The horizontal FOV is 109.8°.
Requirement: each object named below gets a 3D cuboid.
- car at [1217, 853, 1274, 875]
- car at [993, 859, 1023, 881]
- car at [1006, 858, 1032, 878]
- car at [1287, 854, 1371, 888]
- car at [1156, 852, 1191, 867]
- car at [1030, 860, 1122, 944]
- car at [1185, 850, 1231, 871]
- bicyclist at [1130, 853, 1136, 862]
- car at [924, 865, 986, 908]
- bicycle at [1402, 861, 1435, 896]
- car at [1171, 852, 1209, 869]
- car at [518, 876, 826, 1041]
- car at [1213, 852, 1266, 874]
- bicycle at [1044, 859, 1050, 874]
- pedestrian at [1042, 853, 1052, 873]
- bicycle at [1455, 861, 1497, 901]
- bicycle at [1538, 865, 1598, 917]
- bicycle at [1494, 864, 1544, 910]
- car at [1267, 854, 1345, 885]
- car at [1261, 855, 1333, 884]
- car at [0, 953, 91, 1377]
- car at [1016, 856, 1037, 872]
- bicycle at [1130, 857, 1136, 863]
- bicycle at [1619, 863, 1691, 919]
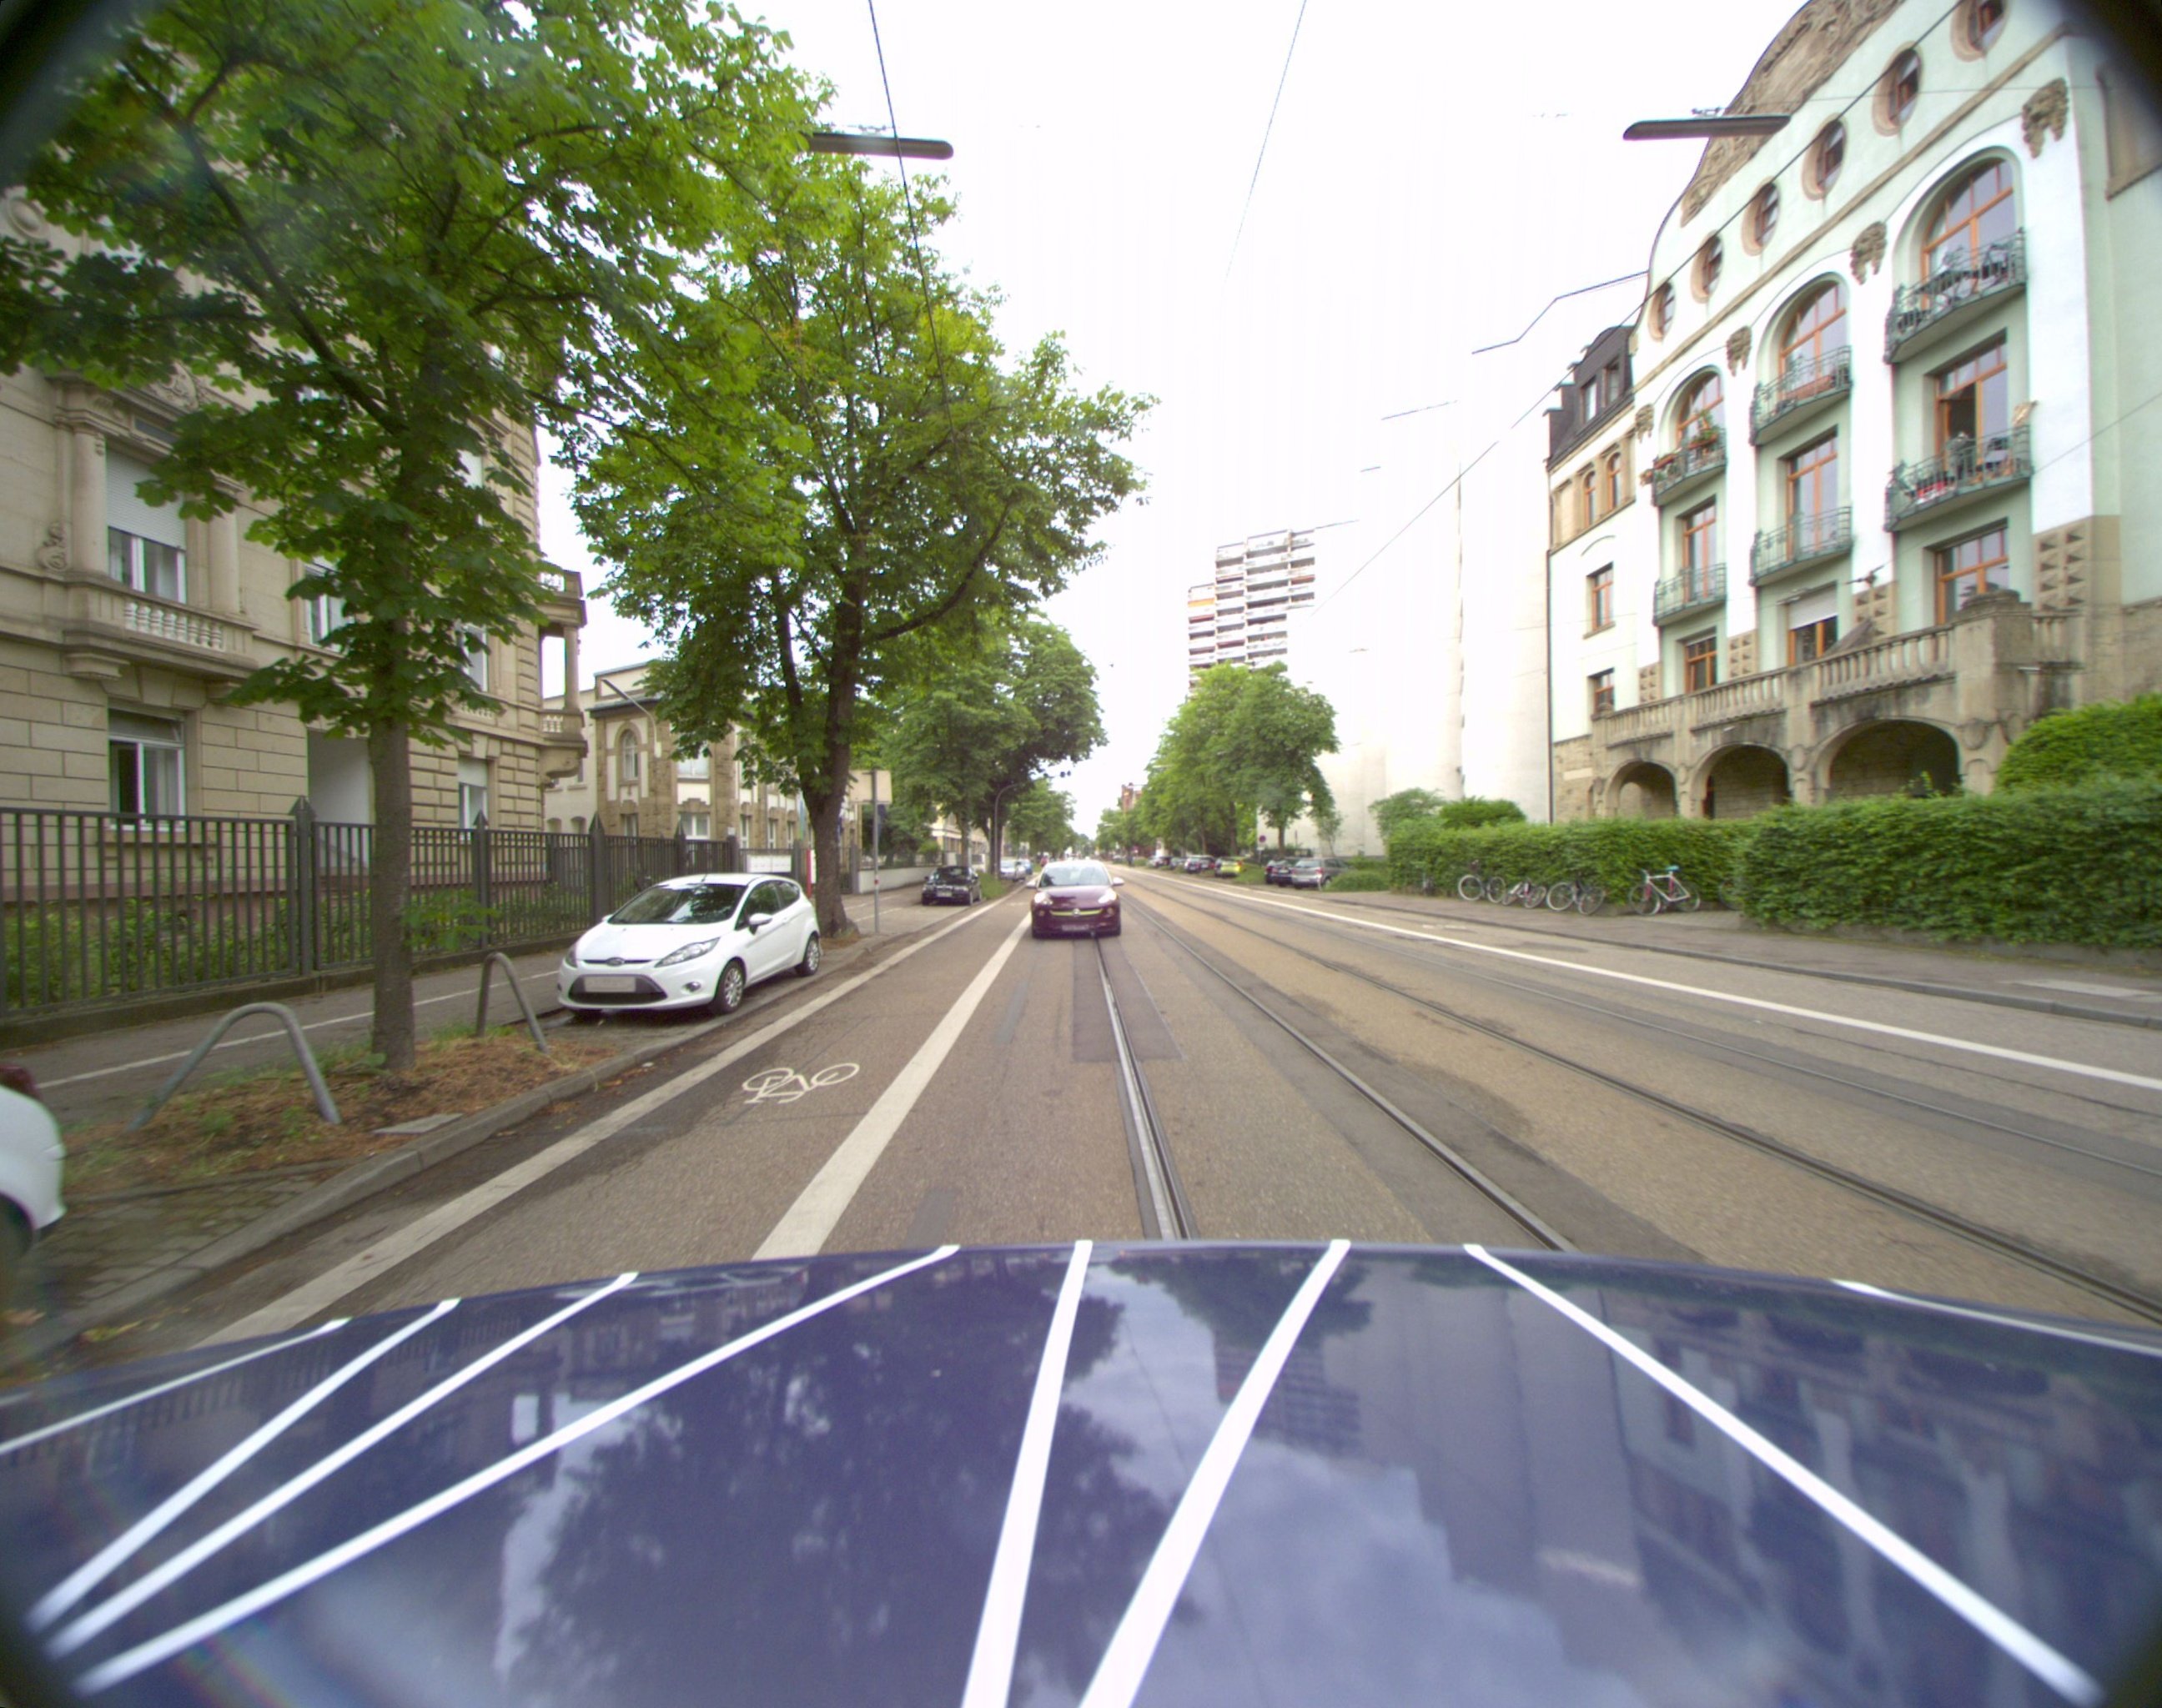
[{"bbox_3d":[10.957,0.651,50.416,4.008,1.387,1.690,-1,0,-44],"label":"car"},{"bbox_3d":[-4.765,1.030,50.103,1.606,1.362,3.836,1,0,0],"label":"car"},{"bbox_3d":[-4.679,1.022,57.446,1.606,1.416,3.836,1,0,0],"label":"car"},{"bbox_3d":[11.210,0.714,34.245,4.008,1.395,1.691,-1,0,-40],"label":"car"},{"bbox_3d":[10.531,0.623,86.436,4.008,1.611,1.690,-1,0,-44],"label":"car"},{"bbox_3d":[-0.059,0.880,15.589,1.606,1.427,3.776,-2,0,1],"label":"car"},{"bbox_3d":[10.565,0.522,63.187,4.008,1.611,1.690,-1,0,-44],"label":"car"},{"bbox_3d":[7.171,0.510,105.576,0.752,1.247,0.875,-1,1,-2],"label":"bicyclist"},{"bbox_3d":[-4.519,1.117,27.652,1.606,1.362,3.836,1,0,0],"label":"car"},{"bbox_3d":[10.955,0.772,24.707,0.360,1.077,1.546,-1,0,0],"label":"bicycle"},{"bbox_3d":[10.983,0.657,76.606,4.008,1.611,1.690,-1,0,-44],"label":"car"},{"bbox_3d":[-4.510,1.046,9.088,1.631,1.427,3.764,1,0,0],"label":"car"},{"bbox_3d":[11.166,0.631,53.467,4.008,1.434,1.690,-1,0,-44],"label":"car"},{"bbox_3d":[-2.694,0.974,60.152,0.414,1.197,1.706,-1,0,0],"label":"bicycle"},{"bbox_3d":[-2.684,0.690,59.991,0.684,1.541,0.704,-1,1,0],"label":"pedestrian"},{"bbox_3d":[11.049,0.740,21.305,0.360,1.077,1.546,-1,0,0],"label":"bicycle"},{"bbox_3d":[10.942,0.804,17.119,0.360,1.077,1.546,-1,0,0],"label":"bicycle"},{"bbox_3d":[10.981,0.802,19.086,0.360,1.077,1.546,-1,0,0],"label":"bicycle"},{"bbox_3d":[11.007,0.739,37.078,4.008,1.395,1.691,-1,0,-40],"label":"car"},{"bbox_3d":[11.480,0.779,40.247,4.008,1.395,1.691,-1,0,-40],"label":"car"},{"bbox_3d":[-4.537,1.078,0.963,1.606,1.427,3.776,1,0,1],"label":"car"},{"bbox_3d":[-4.981,0.879,69.872,1.606,1.362,3.836,1,0,0],"label":"car"},{"bbox_3d":[7.213,0.861,105.522,0.568,0.784,1.890,-1,0,-1],"label":"bicycle"},{"bbox_3d":[11.929,0.764,15.795,1.205,1.077,0.300,-3,1,1],"label":"bicycle"}]
